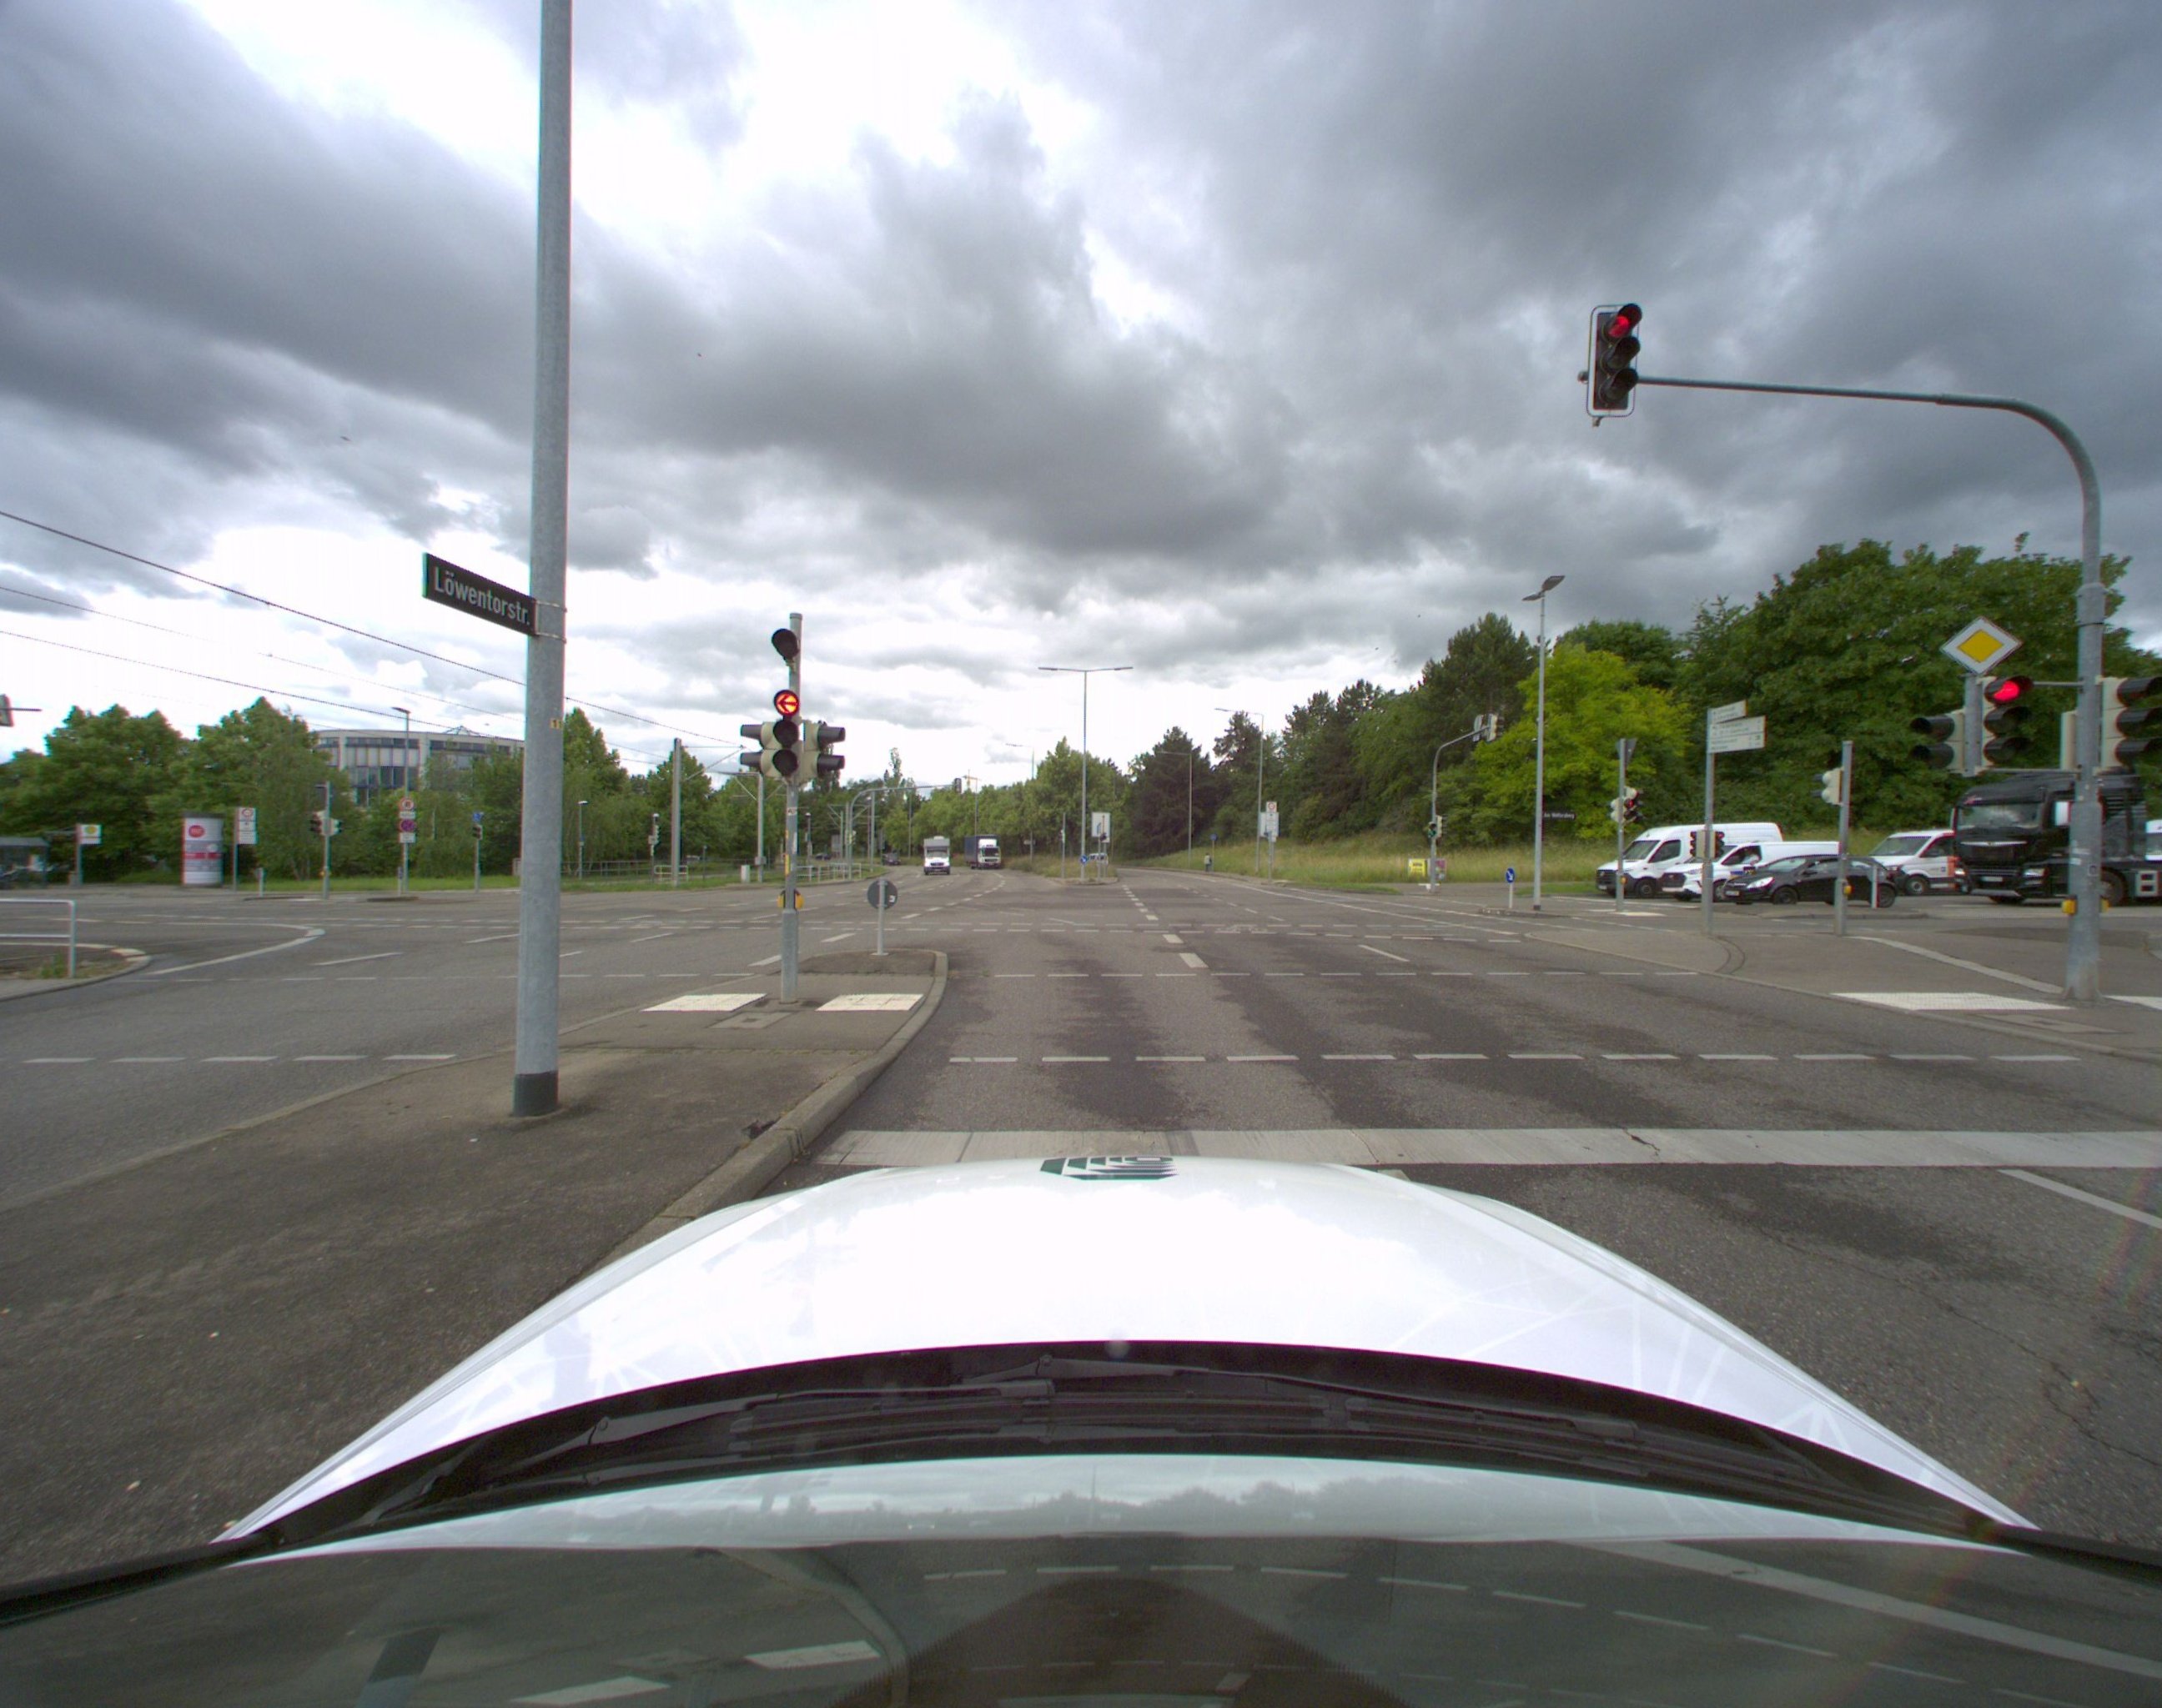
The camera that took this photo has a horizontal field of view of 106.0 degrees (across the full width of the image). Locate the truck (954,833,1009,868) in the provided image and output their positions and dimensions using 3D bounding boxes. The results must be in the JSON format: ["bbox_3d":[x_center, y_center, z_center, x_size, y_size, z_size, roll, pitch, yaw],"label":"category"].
[{"bbox_3d":[-11.510,-0.297,92.610,3.061,3.760,12.720,0,-1,-22],"label":"truck"}]

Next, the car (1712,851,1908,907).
[{"bbox_3d":[20.281,0.669,22.770,3.905,1.436,1.732,-1,0,1],"label":"car"}]

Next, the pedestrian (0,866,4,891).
[{"bbox_3d":[-57.887,1.298,43.200,0.774,1.303,0.666,0,0,15],"label":"pedestrian"}]

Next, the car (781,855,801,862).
[{"bbox_3d":[-62.857,0.902,176.392,3.973,1.546,1.795,0,0,30],"label":"car"}]

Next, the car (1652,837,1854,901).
[{"bbox_3d":[21.592,0.458,26.327,4.836,1.896,2.034,-1,0,1],"label":"car"}]

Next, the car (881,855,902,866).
[{"bbox_3d":[-29.476,0.994,126.616,1.793,1.446,4.482,-2,2,-32],"label":"car"}]

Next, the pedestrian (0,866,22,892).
[{"bbox_3d":[-56.609,1.307,42.957,0.774,1.304,0.666,0,0,15],"label":"pedestrian"}]

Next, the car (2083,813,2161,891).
[{"bbox_3d":[39.724,-0.129,28.487,6.473,2.609,2.197,-1,0,2],"label":"car"}]

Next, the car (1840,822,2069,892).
[{"bbox_3d":[30.683,0.110,28.761,5.677,2.289,2.136,-1,0,2],"label":"car"}]

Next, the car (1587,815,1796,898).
[{"bbox_3d":[21.898,0.095,29.407,5.870,2.781,2.136,-1,0,2],"label":"car"}]

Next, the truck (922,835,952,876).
[{"bbox_3d":[-11.593,0.124,65.855,2.114,3.135,5.885,0,-1,-7],"label":"truck"}]

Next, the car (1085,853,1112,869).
[{"bbox_3d":[2.000,0.837,94.925,1.997,1.802,4.815,-1,-1,-14],"label":"car"}]

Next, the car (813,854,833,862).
[{"bbox_3d":[-54.347,0.796,171.273,3.973,1.546,1.795,0,0,31],"label":"car"}]

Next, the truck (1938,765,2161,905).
[{"bbox_3d":[27.936,-0.515,22.267,6.027,3.538,2.729,-1,0,2],"label":"truck"}]

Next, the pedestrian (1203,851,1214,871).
[{"bbox_3d":[10.816,0.589,69.315,0.811,1.627,0.791,0,0,1],"label":"pedestrian"}]

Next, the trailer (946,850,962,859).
[{"bbox_3d":[-22.085,0.074,141.188,1.776,1.616,3.013,-1,0,-32],"label":"trailer"}]
